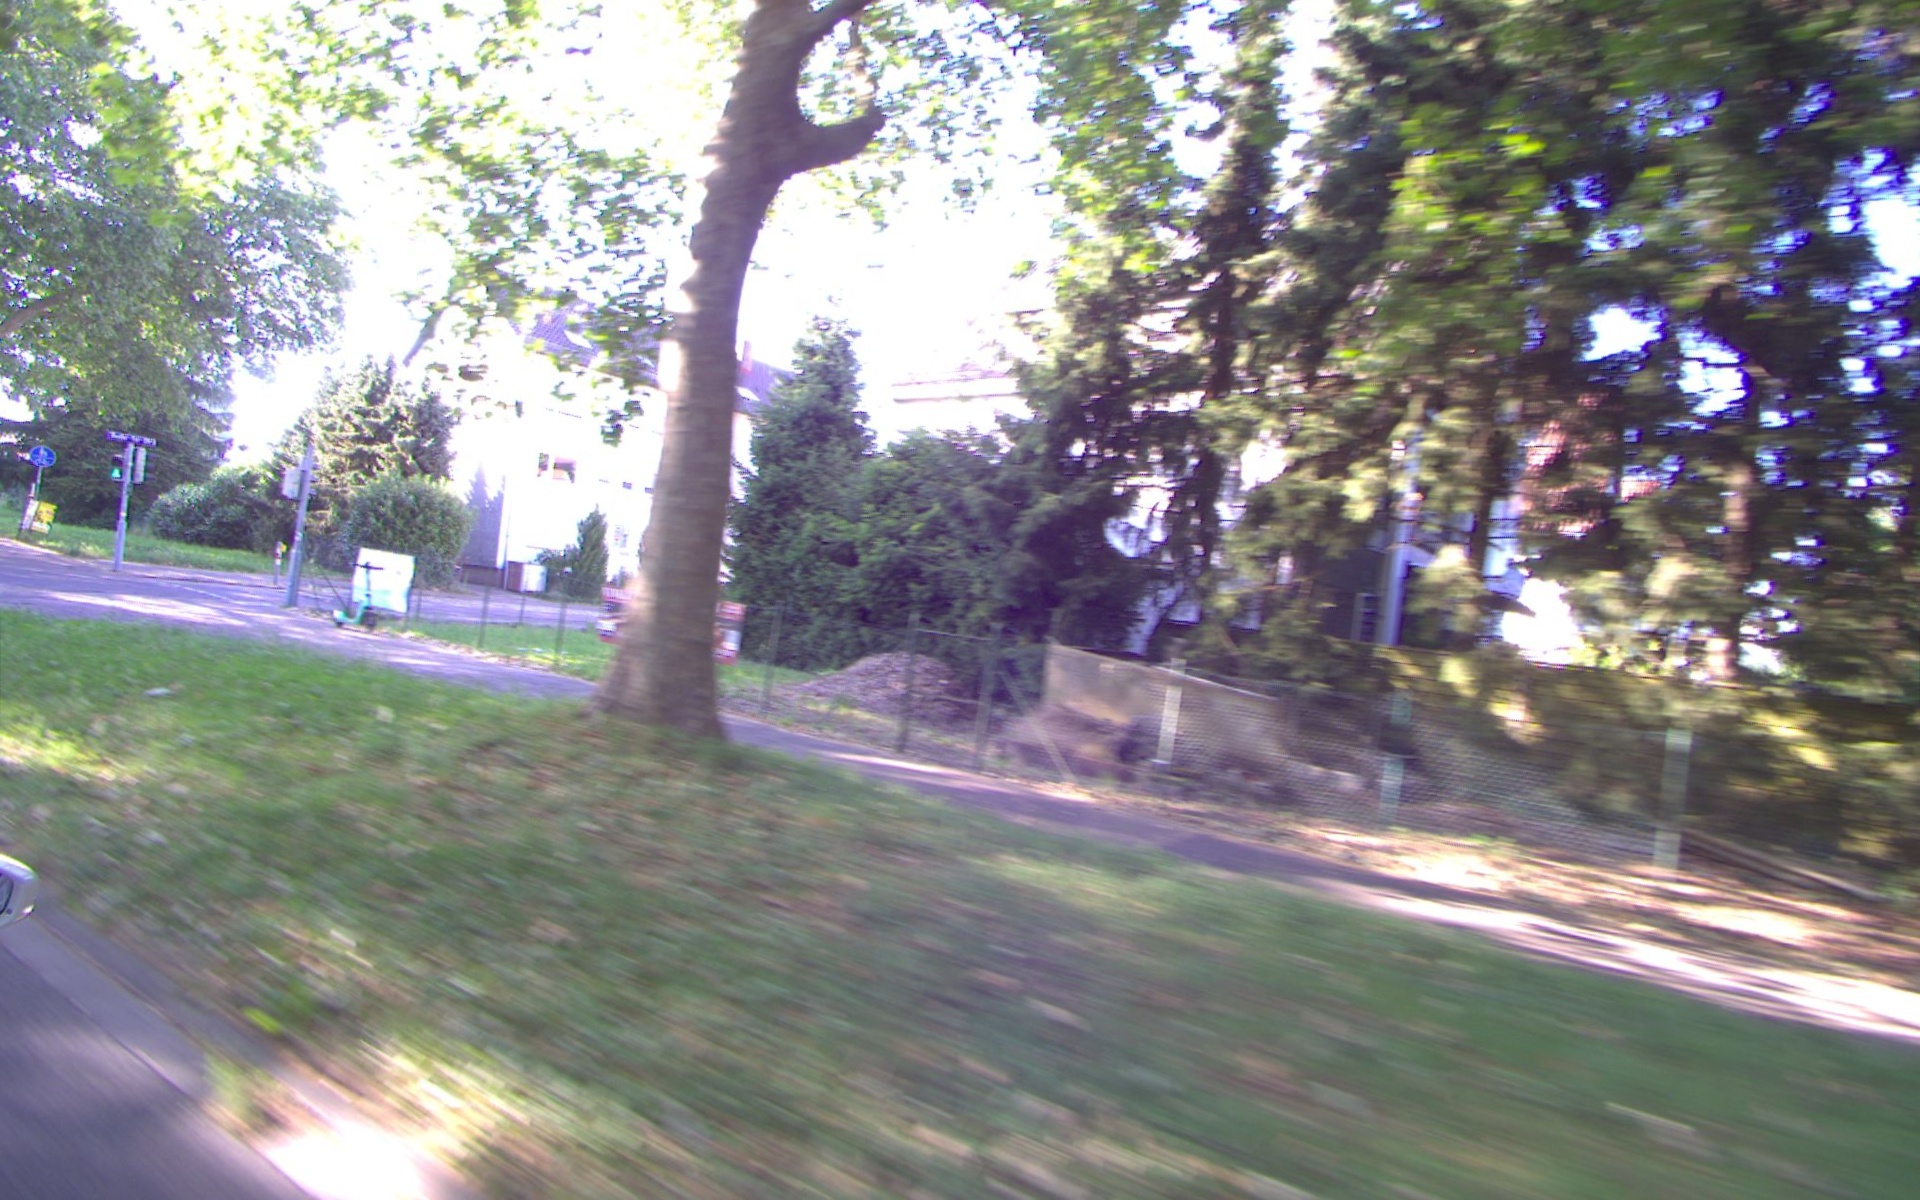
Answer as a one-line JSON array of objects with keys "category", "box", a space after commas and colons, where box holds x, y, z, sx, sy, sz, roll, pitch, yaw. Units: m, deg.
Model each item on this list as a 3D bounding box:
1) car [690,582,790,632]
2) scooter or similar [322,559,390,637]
[{"category": "car", "box": [-9.398, 0.319, 43.133, 1.839, 1.614, 3.748, 11, 2, 36]}, {"category": "scooter or similar", "box": [-10.677, -0.045, 17.773, 1.234, 1.210, 0.383, 8, 0, 31]}]
